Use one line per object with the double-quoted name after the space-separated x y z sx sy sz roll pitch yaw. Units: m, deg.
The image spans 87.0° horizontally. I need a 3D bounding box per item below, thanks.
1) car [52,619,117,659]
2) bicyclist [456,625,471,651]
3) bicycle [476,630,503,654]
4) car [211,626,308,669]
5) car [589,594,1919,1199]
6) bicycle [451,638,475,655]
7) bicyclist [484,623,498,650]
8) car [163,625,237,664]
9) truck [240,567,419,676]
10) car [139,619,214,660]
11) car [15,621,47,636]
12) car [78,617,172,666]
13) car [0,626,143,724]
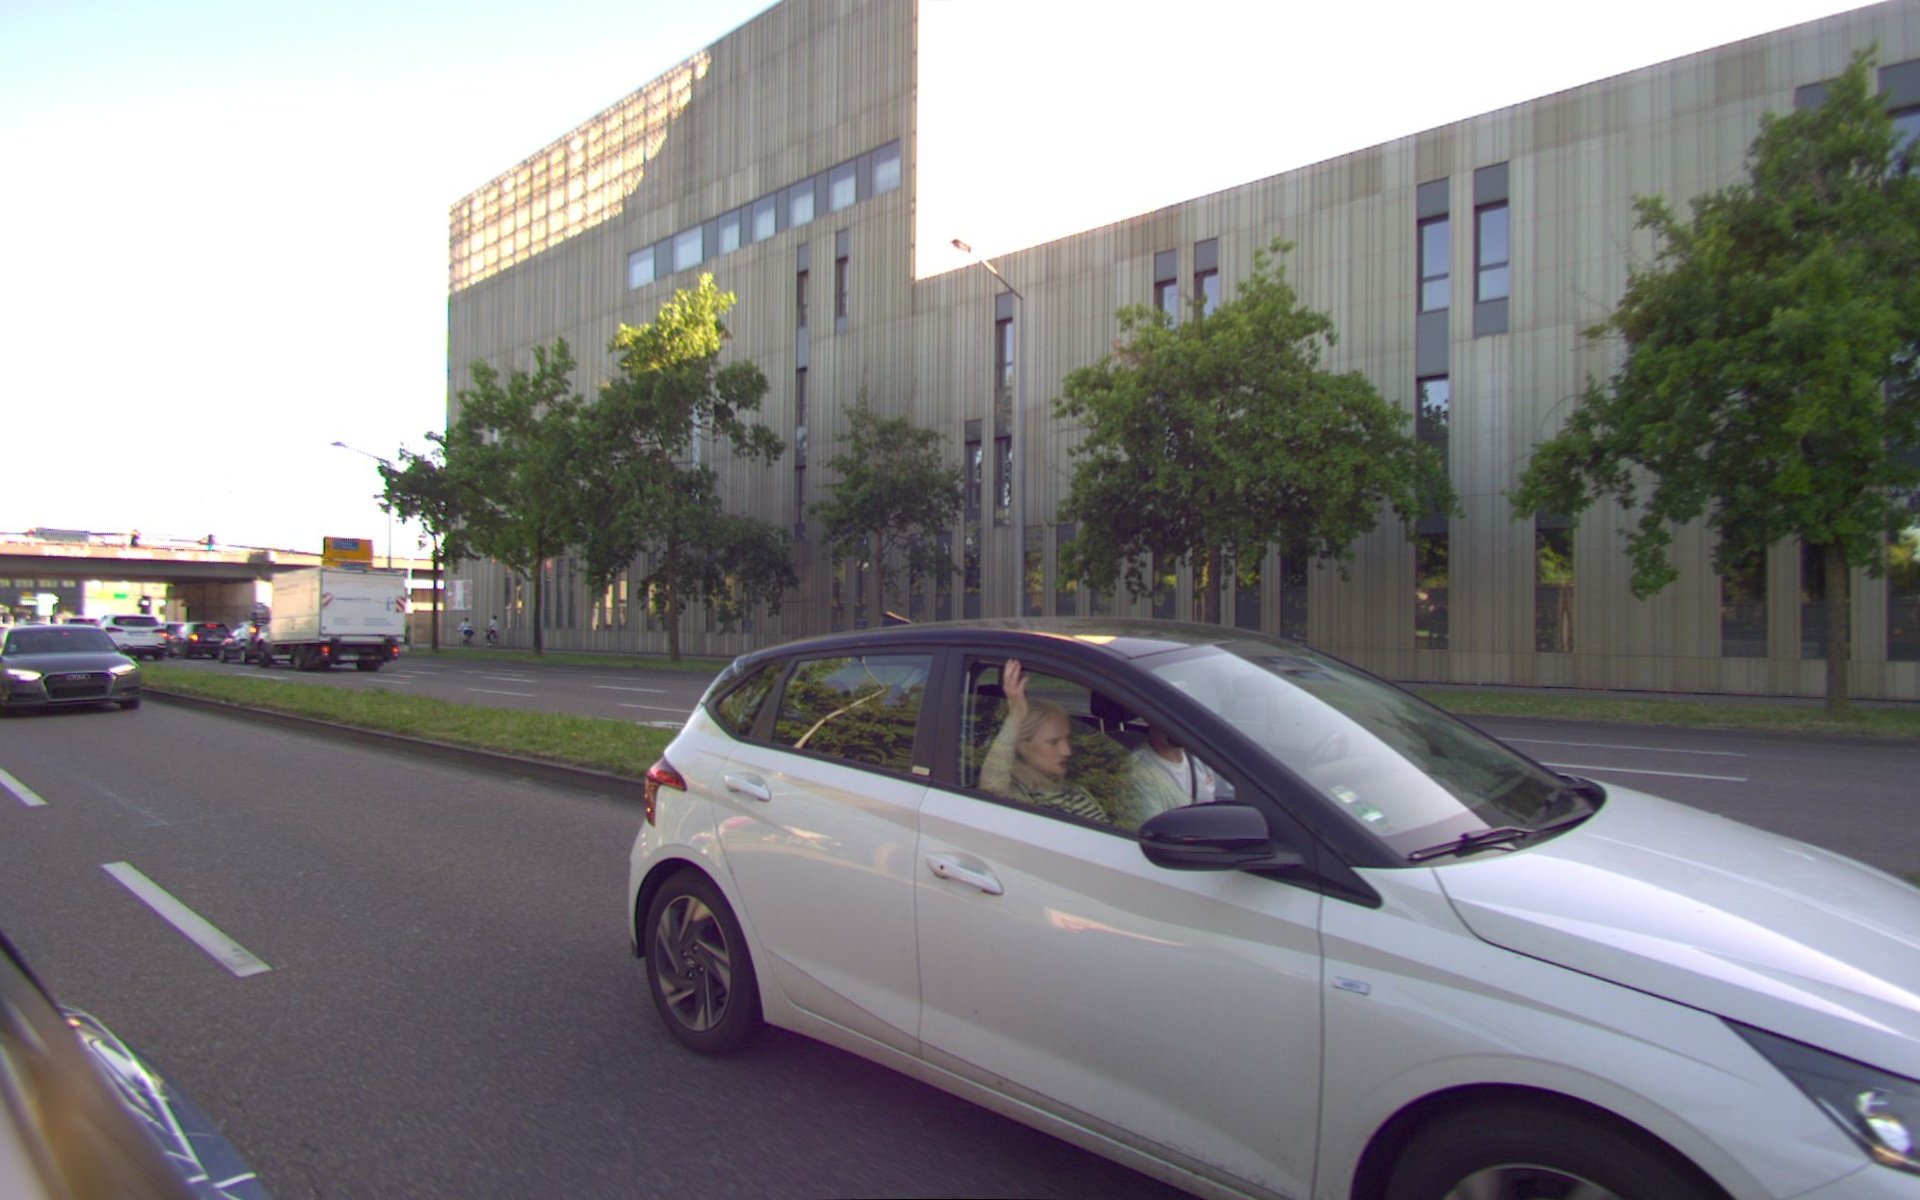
-36.514 1.609 42.198 3.211 1.592 1.584 -1 -3 42 "car"
-27.185 2.082 55.406 0.752 1.453 0.502 -2 -2 40 "bicyclist"
-25.991 2.323 55.901 2.098 1.280 0.507 -2 -2 40 "bicycle"
-24.657 1.667 35.576 3.997 1.435 1.816 -2 -4 41 "car"
0.786 0.731 2.958 4.072 1.419 1.760 -1 -1 40 "car"
-27.259 2.548 55.452 1.753 0.897 0.507 -1 -2 40 "bicycle"
-25.863 2.007 55.802 0.644 1.518 0.502 -2 -2 40 "bicyclist"
-30.290 1.774 40.311 3.638 1.481 1.603 -1 -4 41 "car"
-19.472 0.714 31.072 7.111 2.983 2.658 -1 -4 41 "truck"
-34.159 1.692 44.084 3.998 1.669 1.822 0 -2 41 "car"
-91.699 2.829 99.851 4.878 1.452 1.685 -1 -3 41 "car"
-30.438 1.493 36.852 4.656 1.695 1.805 -1 -4 41 "car"
-15.208 1.156 16.877 4.362 1.415 1.680 -1 -2 40 "car"
